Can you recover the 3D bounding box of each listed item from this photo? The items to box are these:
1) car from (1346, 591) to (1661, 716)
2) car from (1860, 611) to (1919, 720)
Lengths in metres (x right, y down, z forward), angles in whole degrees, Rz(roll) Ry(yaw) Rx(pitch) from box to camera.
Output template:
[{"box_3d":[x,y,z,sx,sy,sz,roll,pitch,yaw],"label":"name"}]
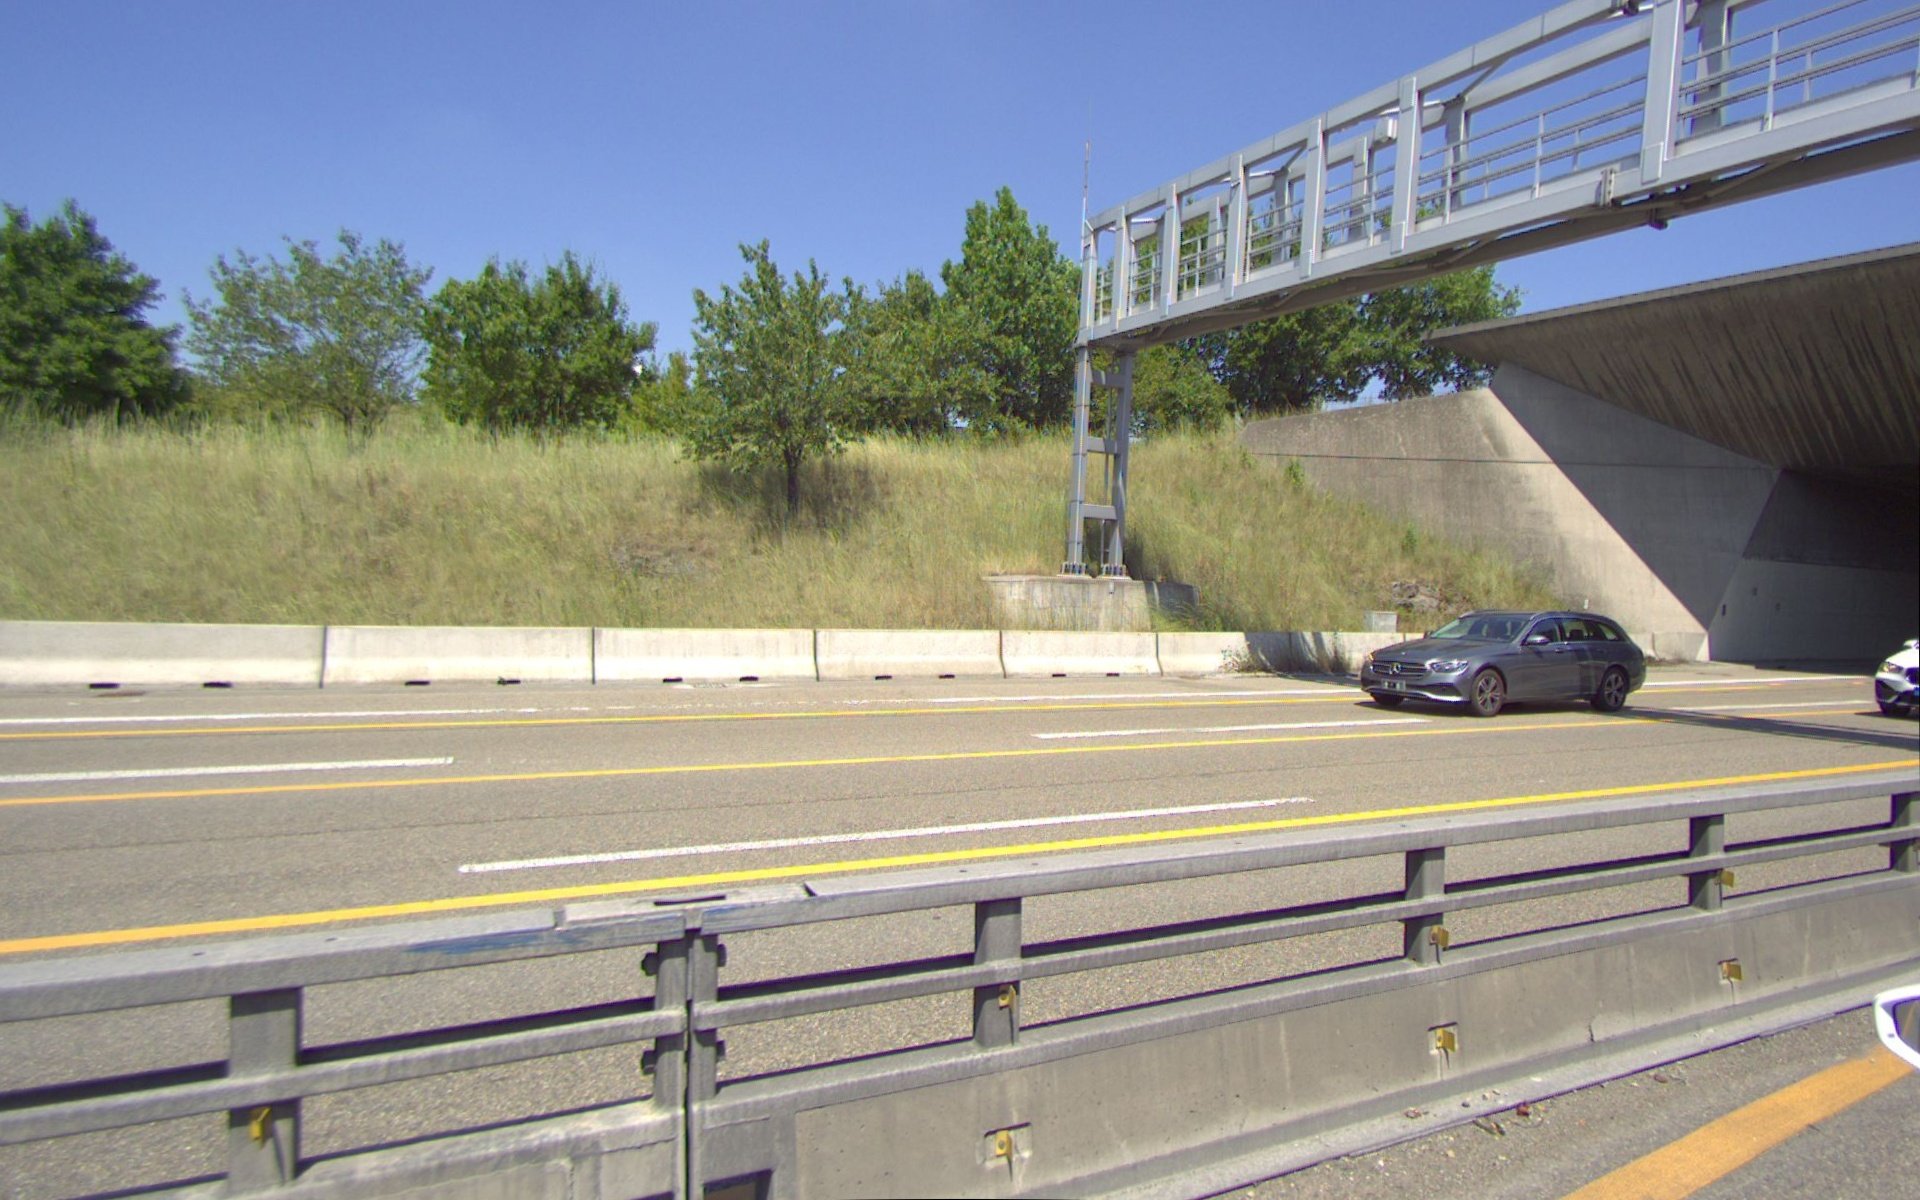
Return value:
[{"box_3d":[8.341,0.754,15.352,4.742,1.689,1.768,1,0,-26],"label":"car"},{"box_3d":[16.218,1.015,15.759,4.392,1.598,1.766,1,0,-29],"label":"car"}]
